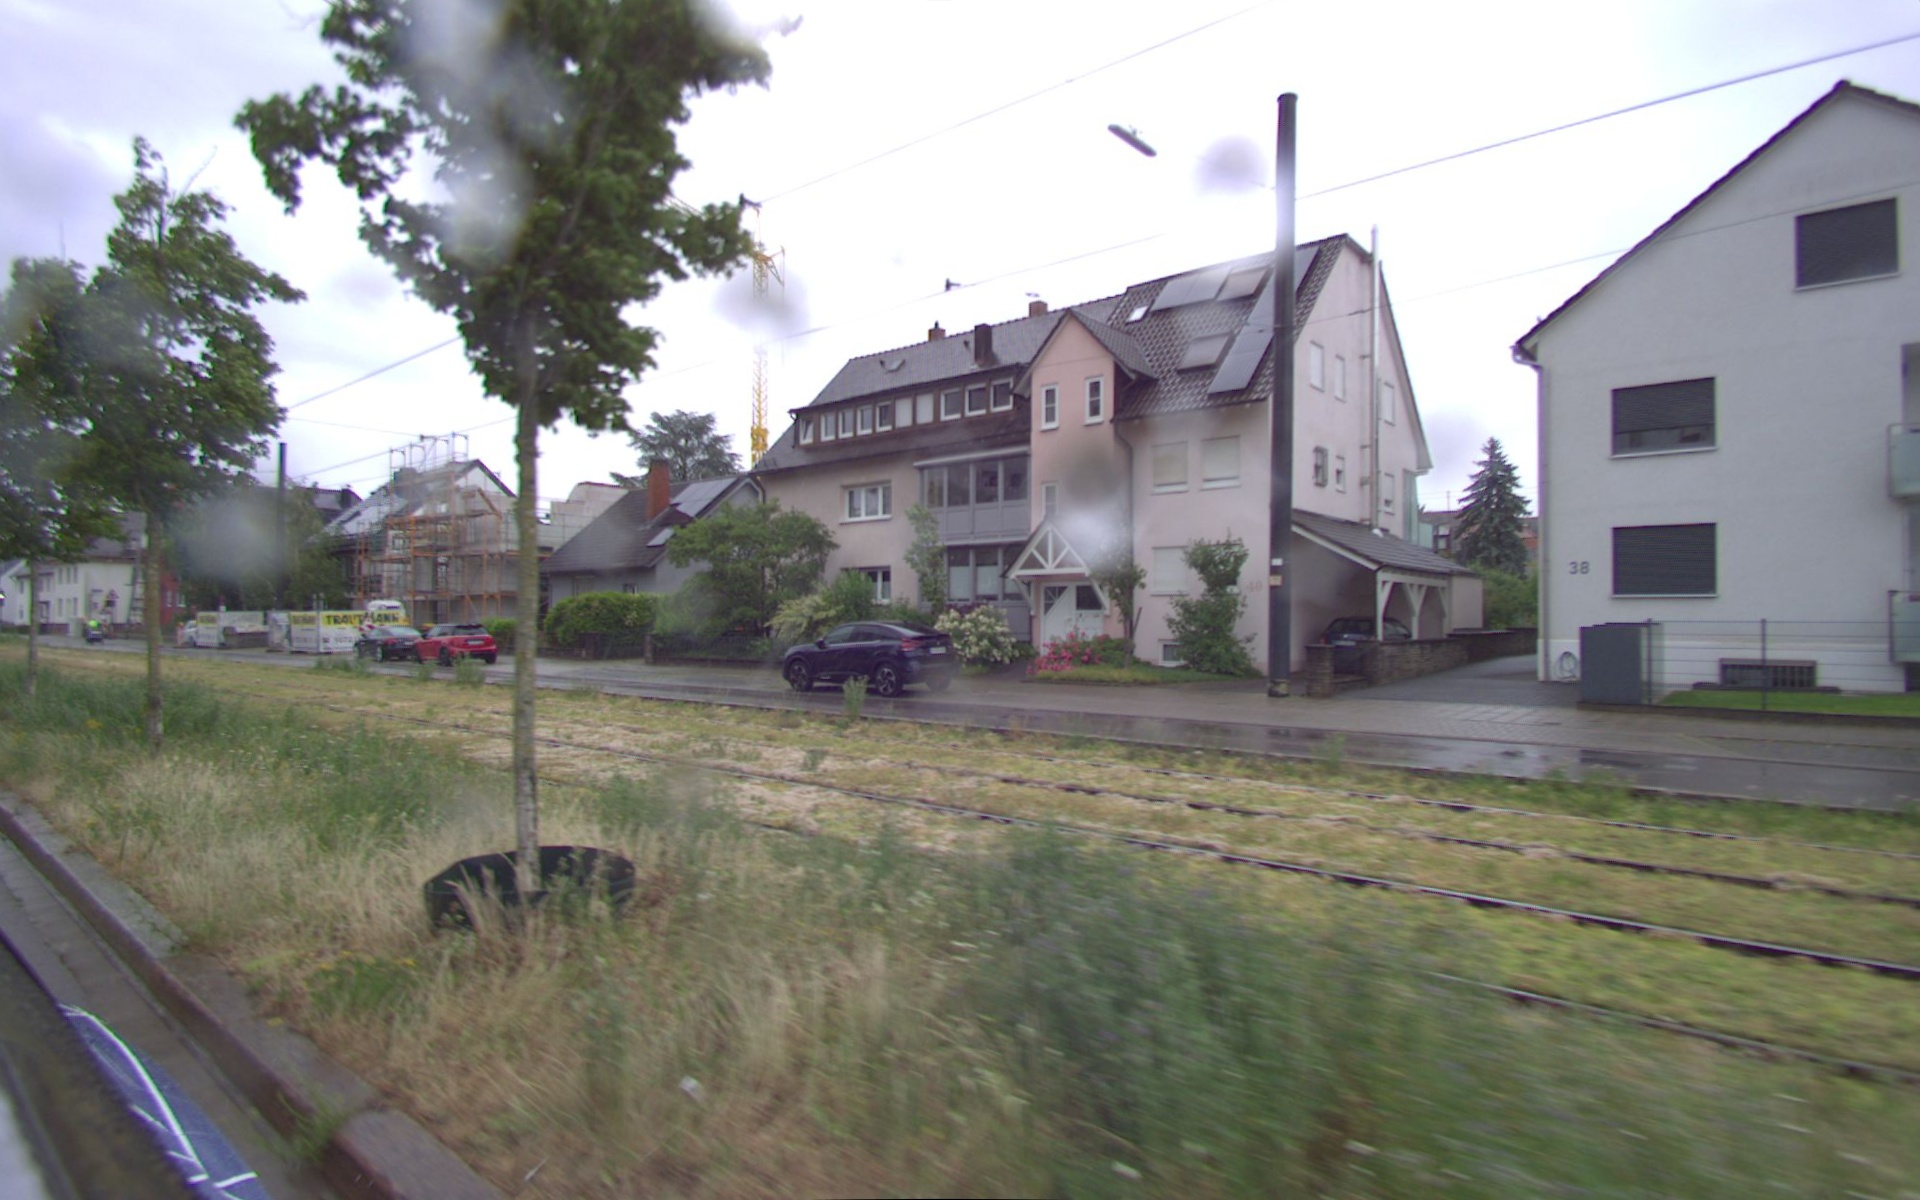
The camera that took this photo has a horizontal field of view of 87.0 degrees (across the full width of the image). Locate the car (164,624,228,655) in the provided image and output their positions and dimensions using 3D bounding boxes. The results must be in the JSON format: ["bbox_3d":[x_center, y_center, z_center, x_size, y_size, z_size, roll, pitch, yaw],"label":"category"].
[{"bbox_3d":[-44.767,2.287,59.242,4.245,1.640,1.975,0,0,38],"label":"car"}]

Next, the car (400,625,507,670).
[{"bbox_3d":[-17.813,1.625,35.542,3.840,1.383,1.974,0,0,39],"label":"car"}]

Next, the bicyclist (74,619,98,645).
[{"bbox_3d":[-56.126,2.044,64.964,1.399,1.596,0.944,0,0,40],"label":"bicyclist"}]

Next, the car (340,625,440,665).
[{"bbox_3d":[-21.790,1.719,38.645,4.170,1.420,1.974,-3,-2,39],"label":"car"}]

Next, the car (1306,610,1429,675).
[{"bbox_3d":[10.657,1.039,26.330,1.841,1.512,3.946,0,0,40],"label":"car"}]

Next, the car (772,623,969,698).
[{"bbox_3d":[-1.995,1.258,21.881,4.170,1.437,1.818,-2,-1,39],"label":"car"}]

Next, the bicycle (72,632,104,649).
[{"bbox_3d":[-55.719,2.559,64.632,3.430,1.051,0.925,-1,-2,39],"label":"bicycle"}]
